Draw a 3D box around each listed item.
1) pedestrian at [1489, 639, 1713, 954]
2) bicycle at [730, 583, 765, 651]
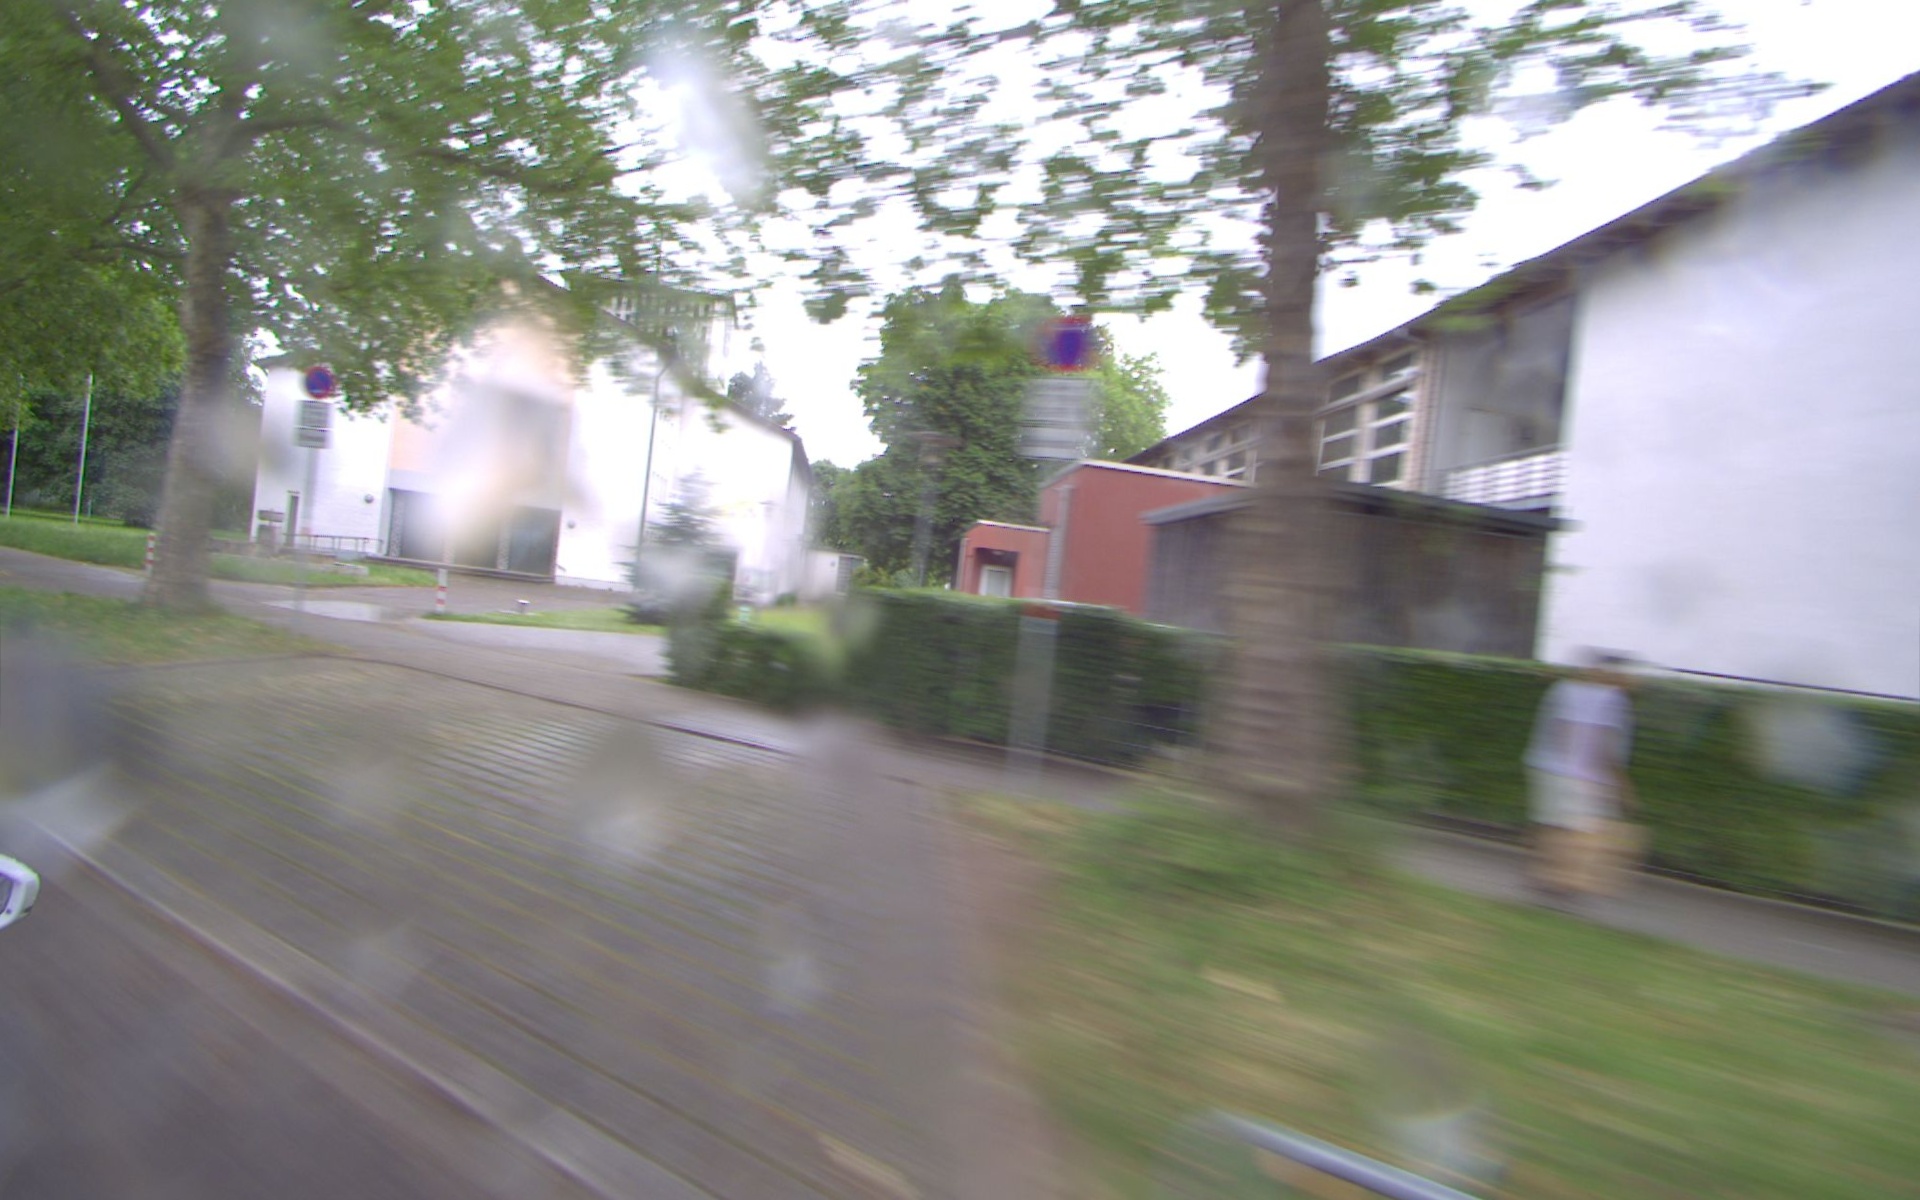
[{"bbox_3d":[3.621,1.048,5.787,0.845,1.558,0.834,7,2,27],"label":"pedestrian"},{"bbox_3d":[-3.990,0.284,18.819,0.457,1.105,2.038,5,2,-15],"label":"bicycle"}]
